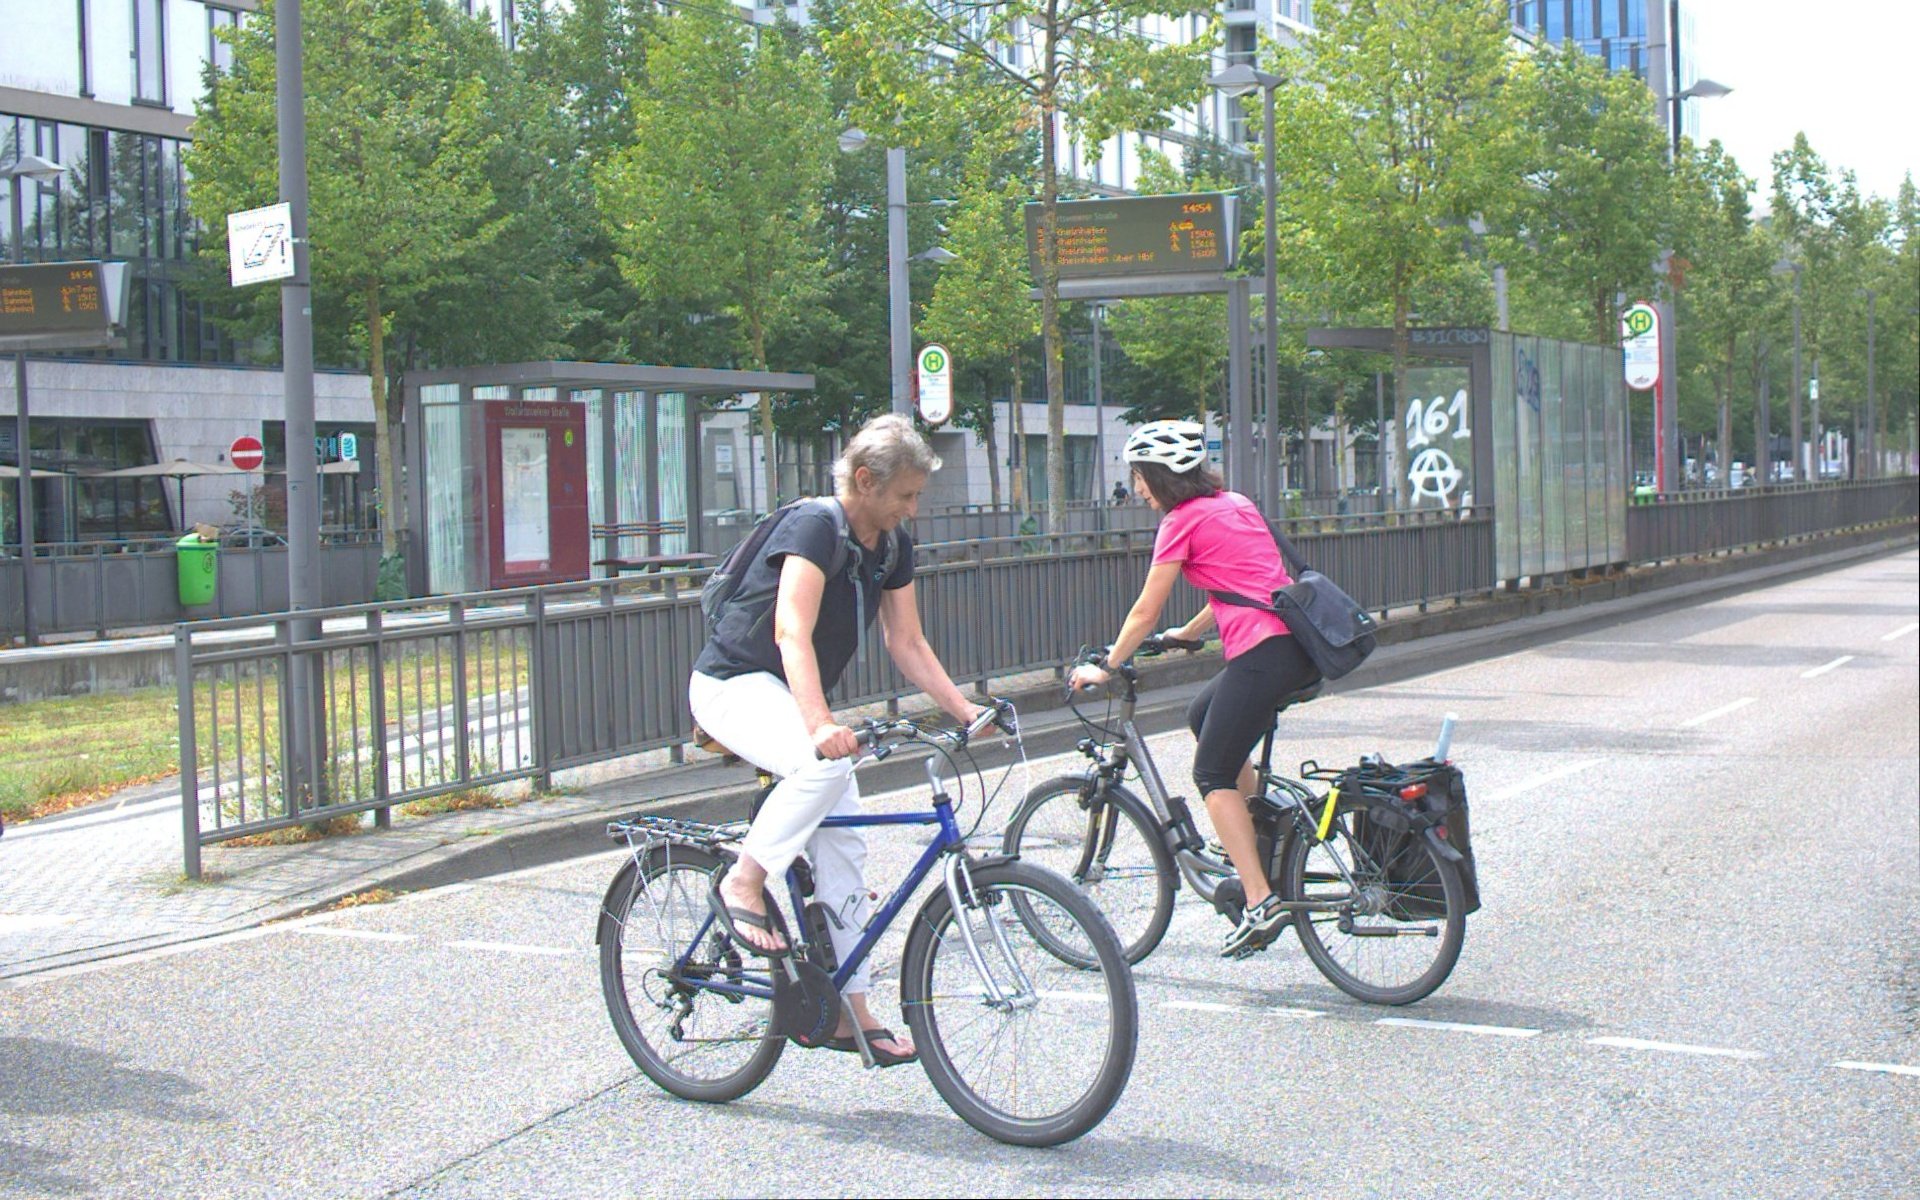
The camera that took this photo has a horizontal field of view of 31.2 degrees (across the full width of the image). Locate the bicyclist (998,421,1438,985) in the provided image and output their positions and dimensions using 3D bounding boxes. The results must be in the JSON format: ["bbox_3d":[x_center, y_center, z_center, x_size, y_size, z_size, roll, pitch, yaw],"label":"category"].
[{"bbox_3d":[0.789,0.281,10.536,1.048,1.621,0.790,0,3,41],"label":"bicyclist"}]

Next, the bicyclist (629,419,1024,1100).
[{"bbox_3d":[-0.326,0.359,8.405,0.765,1.575,0.559,0,2,39],"label":"bicyclist"}]

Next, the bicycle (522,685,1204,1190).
[{"bbox_3d":[-0.268,0.767,8.375,1.711,1.054,0.547,0,2,40],"label":"bicycle"}]

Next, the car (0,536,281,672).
[{"bbox_3d":[-9.977,0.014,40.701,1.845,1.453,3.995,0,2,23],"label":"car"}]

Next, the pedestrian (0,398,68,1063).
[{"bbox_3d":[-2.827,0.349,9.294,0.551,1.775,0.580,0,1,16],"label":"pedestrian"}]

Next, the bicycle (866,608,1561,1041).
[{"bbox_3d":[0.747,0.632,10.588,2.039,1.164,0.790,0,3,40],"label":"bicycle"}]
